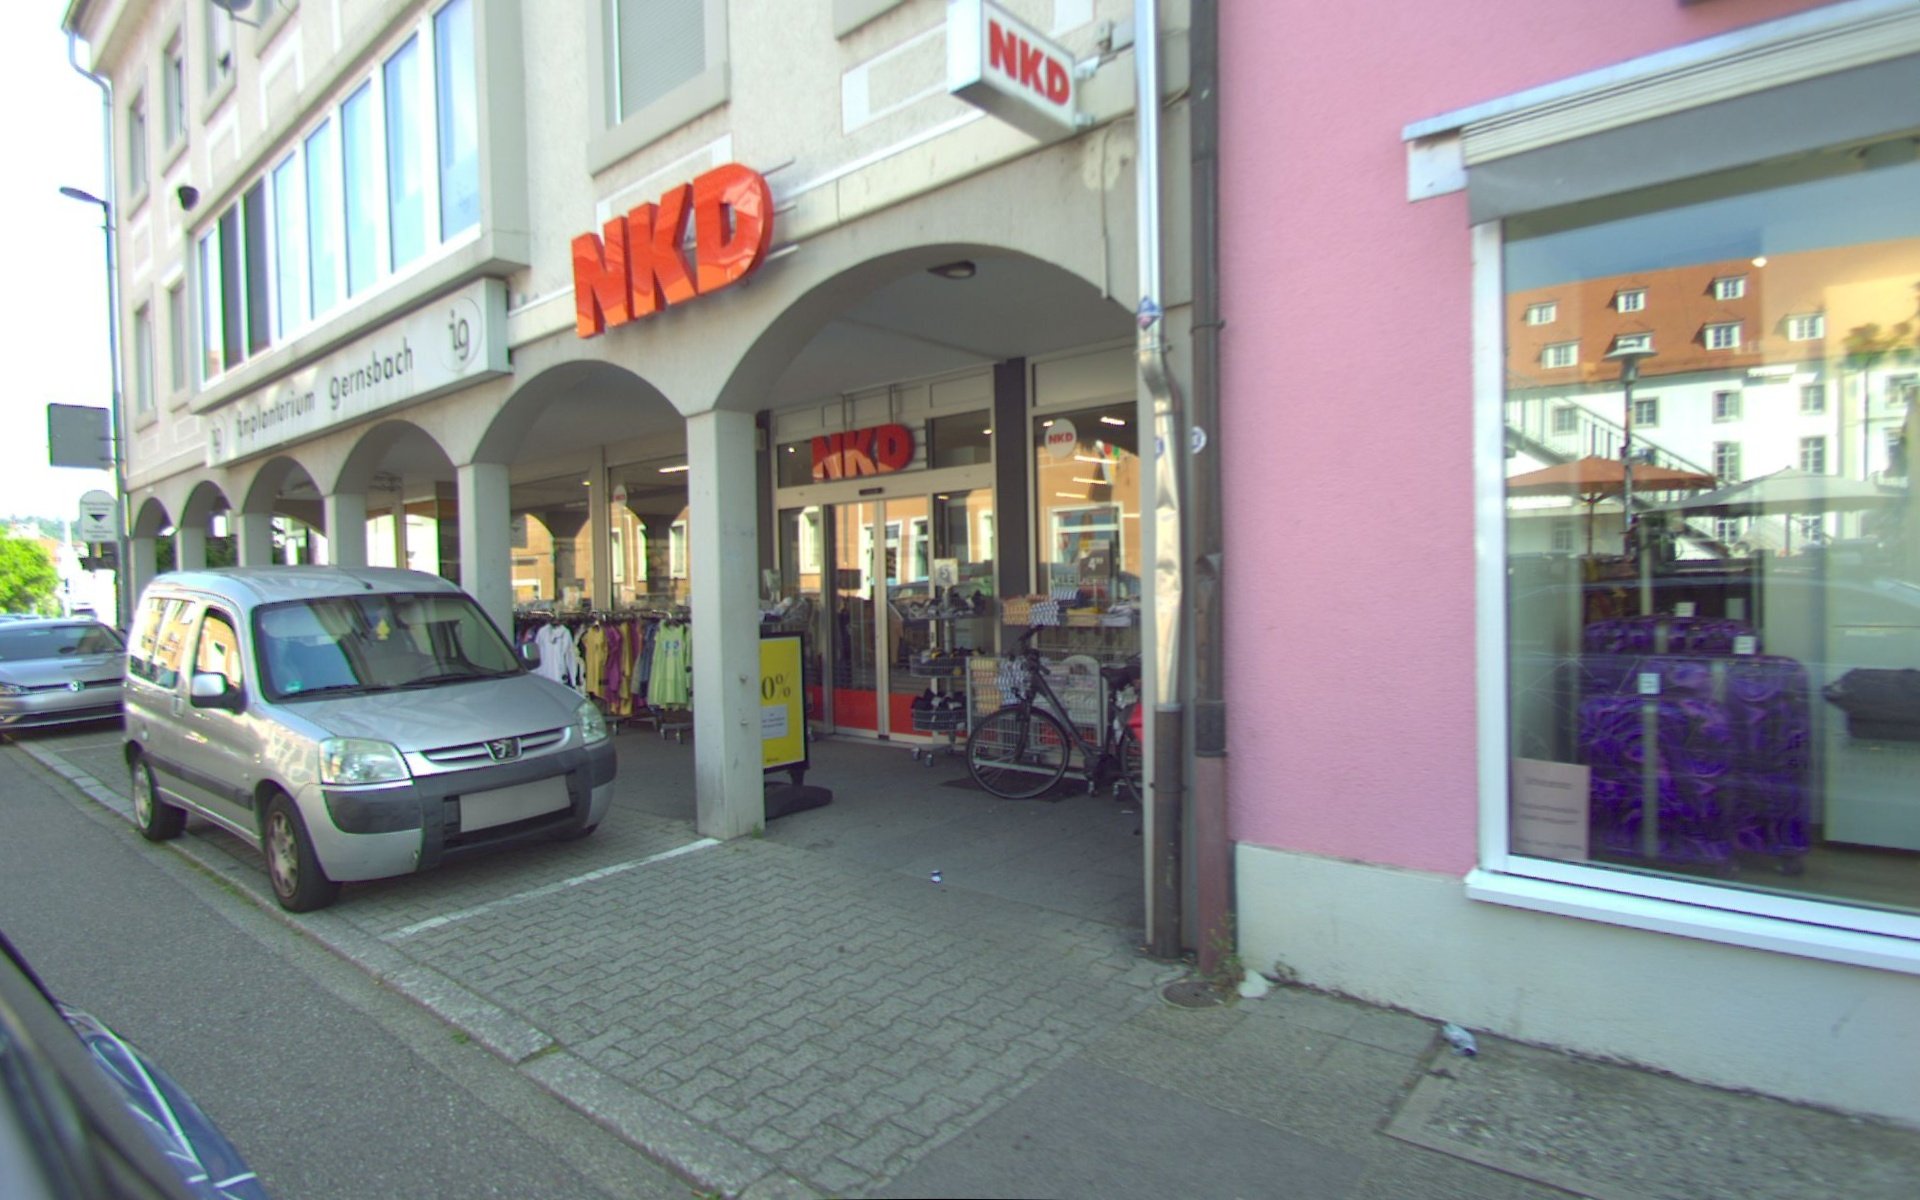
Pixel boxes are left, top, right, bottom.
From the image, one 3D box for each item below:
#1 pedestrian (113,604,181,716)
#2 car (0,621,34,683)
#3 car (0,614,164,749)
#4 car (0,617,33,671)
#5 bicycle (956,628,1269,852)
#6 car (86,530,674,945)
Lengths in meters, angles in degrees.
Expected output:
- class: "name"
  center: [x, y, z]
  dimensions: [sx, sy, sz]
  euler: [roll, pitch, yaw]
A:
- class: "pedestrian"
  center: [-11.762, 0.855, 14.649]
  dimensions: [0.533, 1.563, 0.615]
  euler: [-2, 0, 37]
- class: "car"
  center: [-26.019, 1.378, 26.941]
  dimensions: [3.972, 1.572, 1.745]
  euler: [-2, 0, 44]
- class: "car"
  center: [-12.291, 0.994, 13.582]
  dimensions: [4.454, 1.481, 1.784]
  euler: [-2, 1, 42]
- class: "car"
  center: [-31.977, 1.448, 33.508]
  dimensions: [1.657, 1.681, 3.978]
  euler: [-1, 0, -39]
- class: "bicycle"
  center: [0.843, 0.743, 5.998]
  dimensions: [1.823, 1.131, 0.514]
  euler: [-2, 0, 41]
- class: "car"
  center: [-3.752, 0.587, 6.231]
  dimensions: [4.141, 1.752, 1.690]
  euler: [-2, 2, 39]
